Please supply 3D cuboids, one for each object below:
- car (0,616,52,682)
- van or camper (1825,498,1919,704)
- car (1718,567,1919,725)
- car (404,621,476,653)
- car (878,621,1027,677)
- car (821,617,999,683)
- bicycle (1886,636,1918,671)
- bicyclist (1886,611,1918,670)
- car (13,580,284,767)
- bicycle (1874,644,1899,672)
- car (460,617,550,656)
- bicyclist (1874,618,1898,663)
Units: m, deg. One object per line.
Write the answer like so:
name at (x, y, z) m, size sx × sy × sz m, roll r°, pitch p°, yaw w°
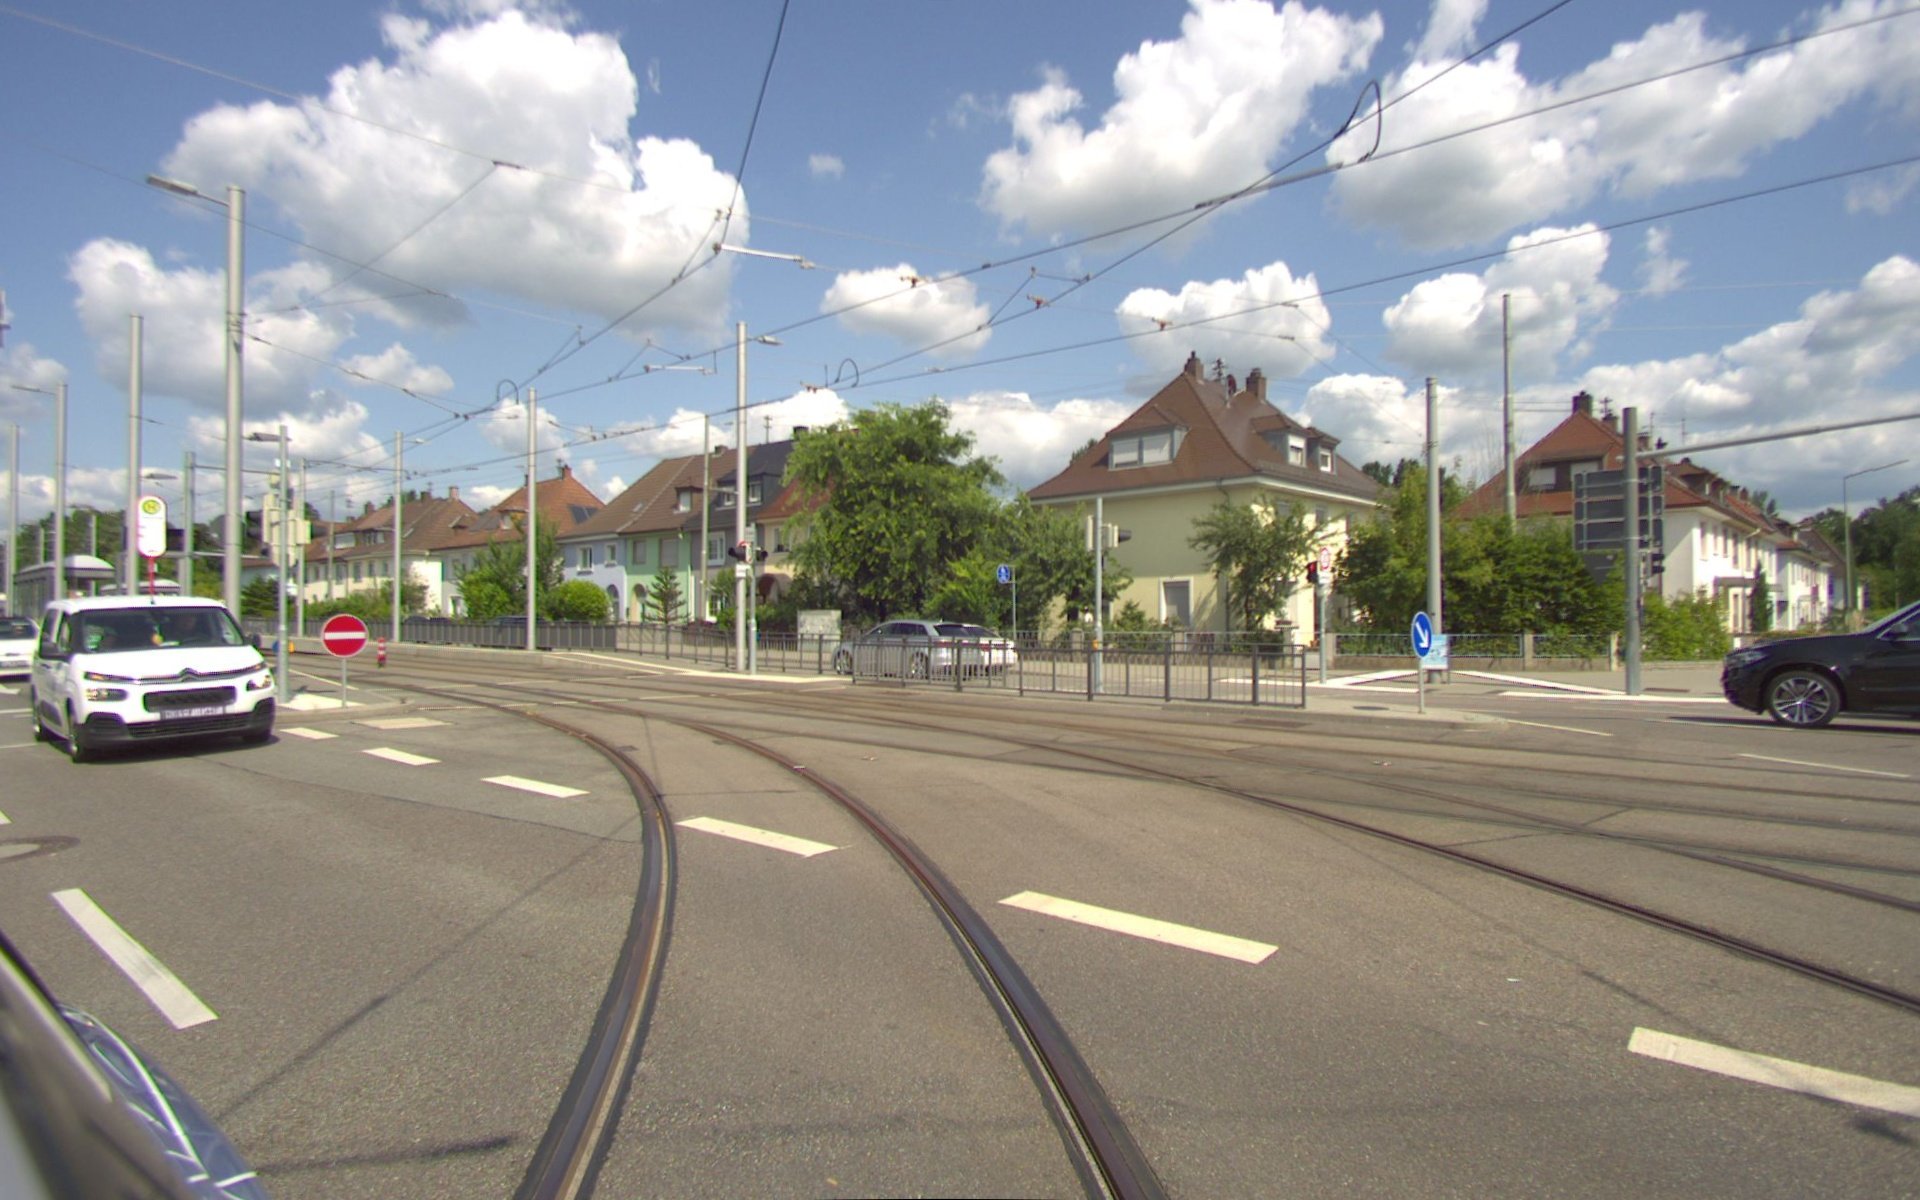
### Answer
car at (-23.462, 1.162, 24.499) m, size 3.389 × 1.515 × 1.660 m, roll -1°, pitch 1°, yaw 38°
van or camper at (16.548, 0.025, 13.313) m, size 7.754 × 2.952 × 2.298 m, roll -1°, pitch -3°, yaw 43°
car at (12.006, 0.544, 11.794) m, size 4.879 × 1.790 × 1.971 m, roll -1°, pitch -3°, yaw 44°
car at (-25.510, 1.777, 49.581) m, size 4.343 × 1.362 × 1.667 m, roll 0°, pitch 1°, yaw 41°
car at (-0.277, 1.335, 28.808) m, size 4.347 × 1.362 × 1.665 m, roll 0°, pitch 1°, yaw 44°
car at (-1.273, 1.149, 24.692) m, size 4.177 × 1.362 × 1.972 m, roll 0°, pitch 1°, yaw 42°
bicycle at (24.928, 1.400, 26.792) m, size 0.602 × 0.841 × 1.067 m, roll 0°, pitch 1°, yaw 43°
bicyclist at (24.939, 1.065, 26.798) m, size 0.602 × 1.520 × 0.636 m, roll 0°, pitch 1°, yaw 43°
car at (-9.756, 0.715, 12.043) m, size 4.328 × 1.829 × 1.776 m, roll 0°, pitch 1°, yaw 41°
bicycle at (31.690, 1.969, 34.617) m, size 0.602 × 0.841 × 1.784 m, roll 0°, pitch 1°, yaw 43°
car at (-17.835, 1.386, 39.587) m, size 4.177 × 1.362 × 1.666 m, roll 0°, pitch 1°, yaw 42°
bicyclist at (31.702, 1.373, 34.634) m, size 0.602 × 1.509 × 0.494 m, roll 0°, pitch 1°, yaw 43°
